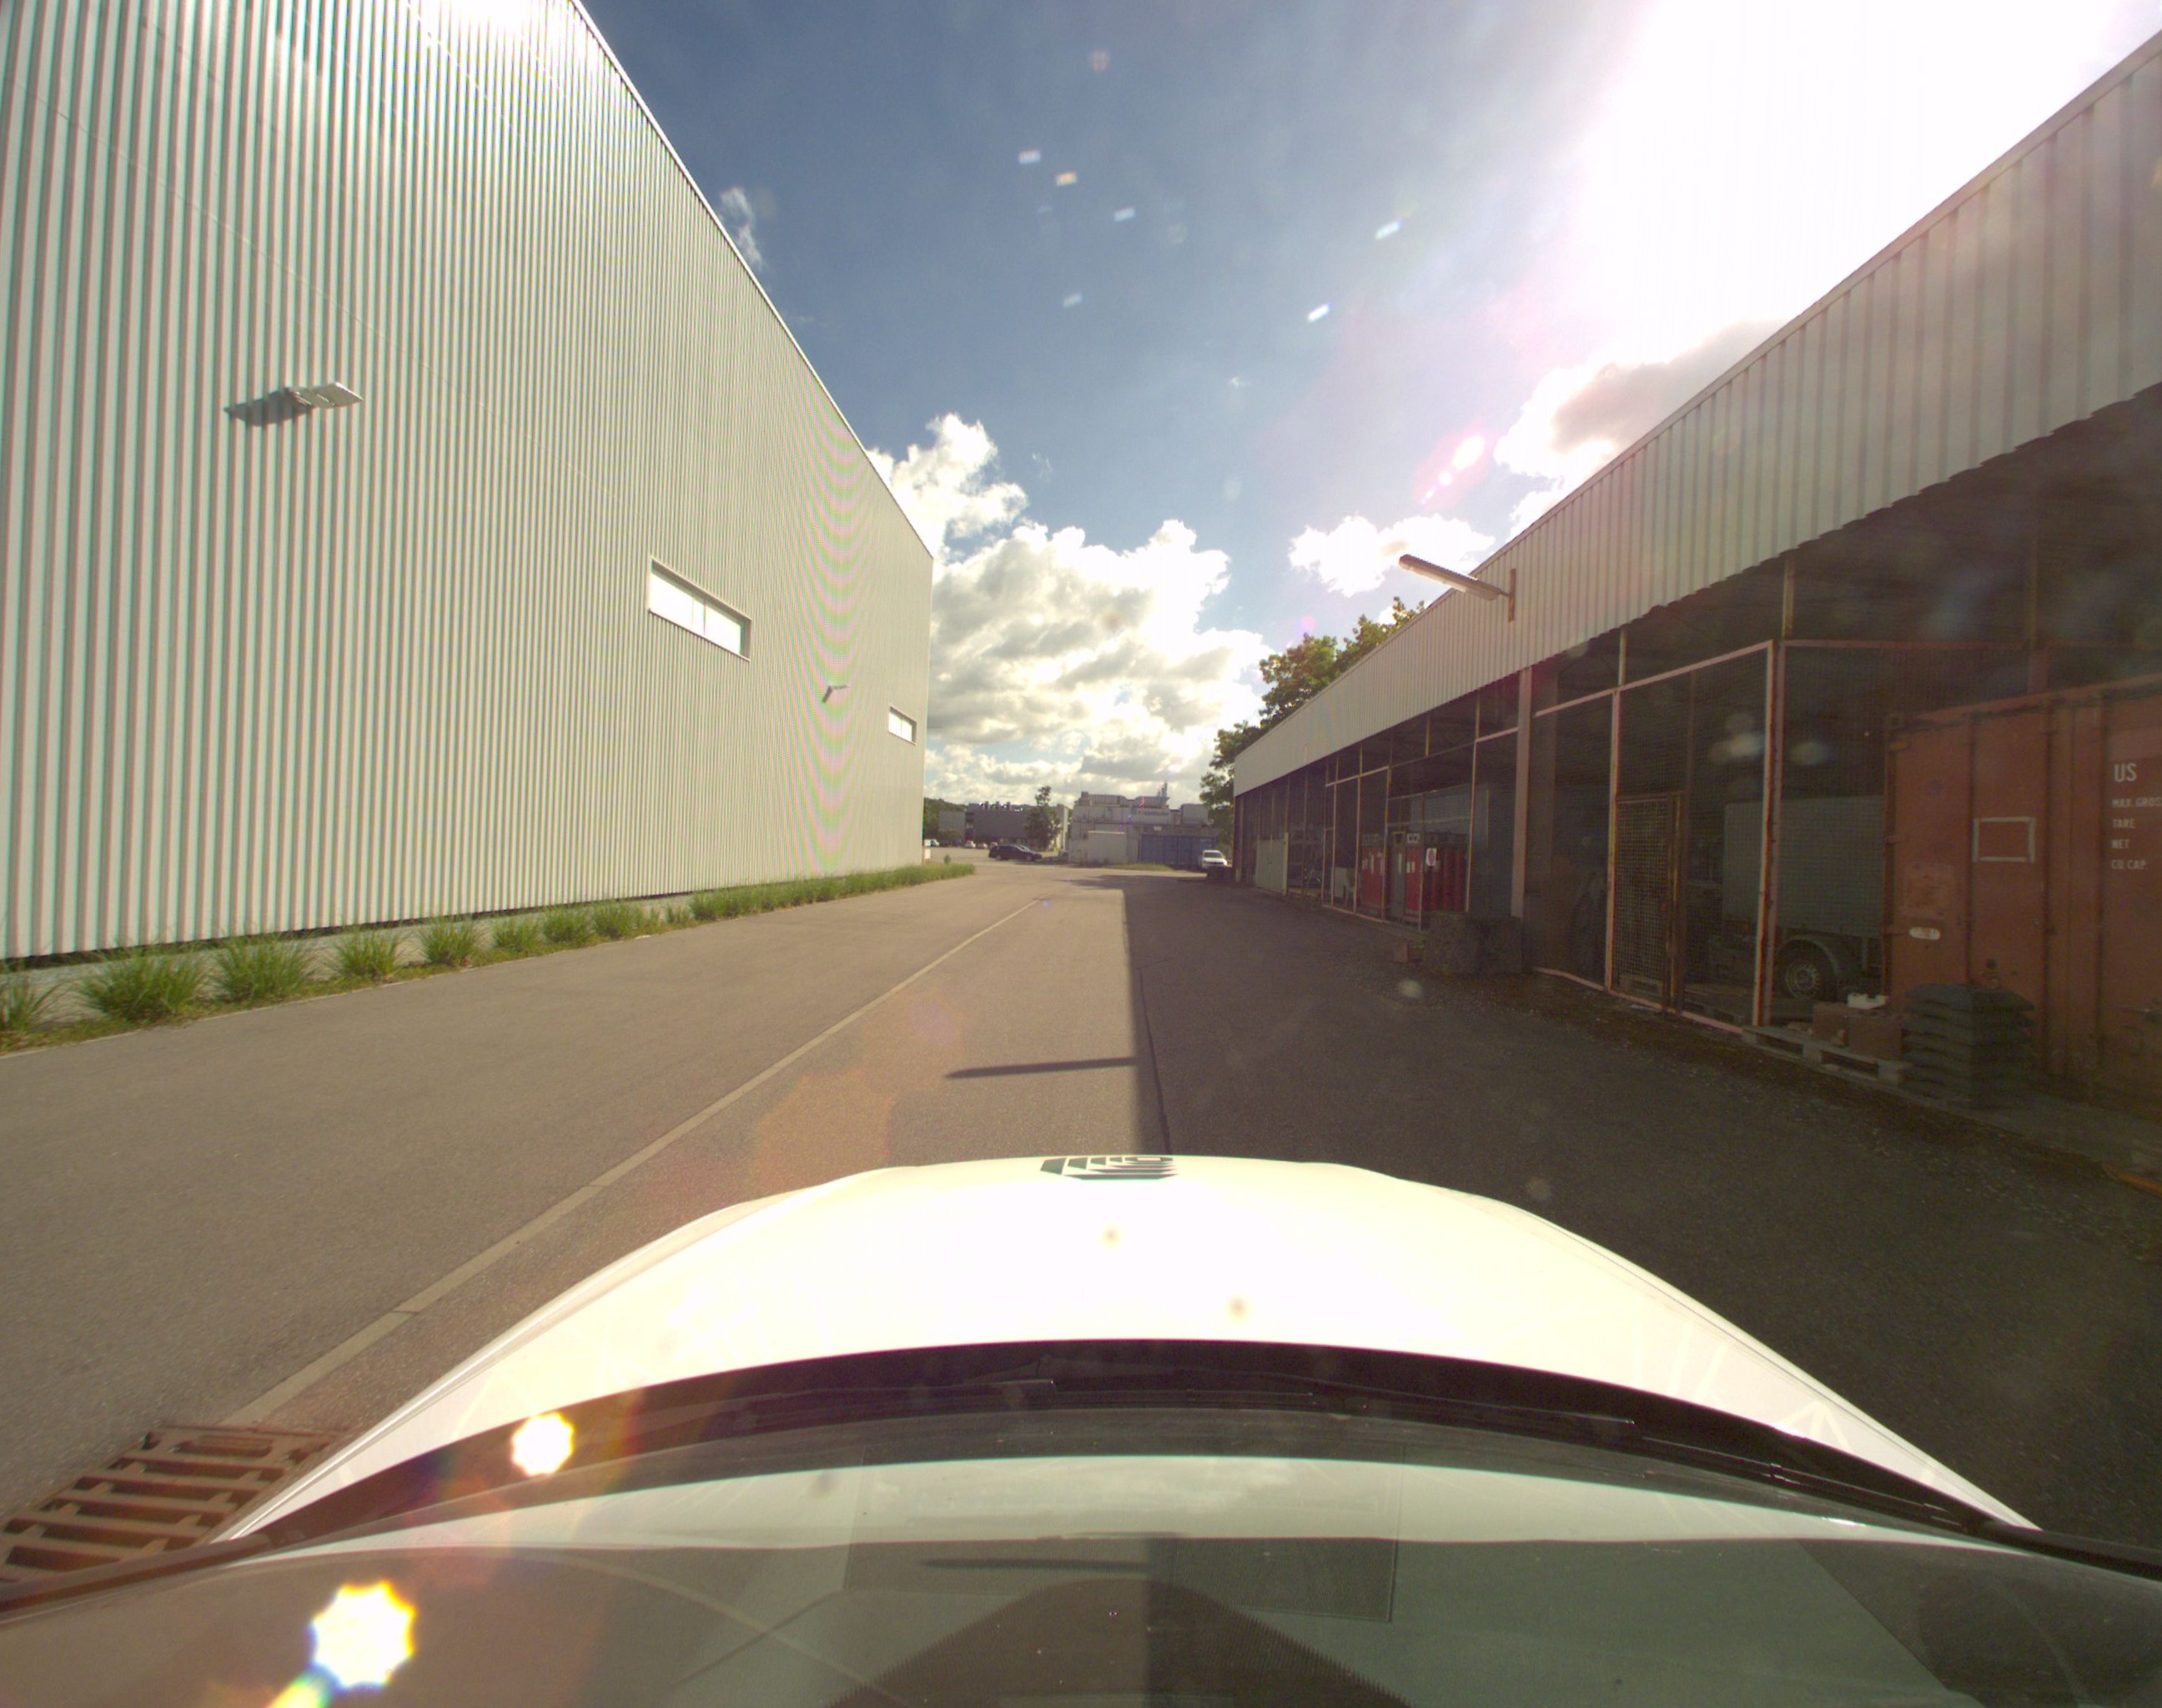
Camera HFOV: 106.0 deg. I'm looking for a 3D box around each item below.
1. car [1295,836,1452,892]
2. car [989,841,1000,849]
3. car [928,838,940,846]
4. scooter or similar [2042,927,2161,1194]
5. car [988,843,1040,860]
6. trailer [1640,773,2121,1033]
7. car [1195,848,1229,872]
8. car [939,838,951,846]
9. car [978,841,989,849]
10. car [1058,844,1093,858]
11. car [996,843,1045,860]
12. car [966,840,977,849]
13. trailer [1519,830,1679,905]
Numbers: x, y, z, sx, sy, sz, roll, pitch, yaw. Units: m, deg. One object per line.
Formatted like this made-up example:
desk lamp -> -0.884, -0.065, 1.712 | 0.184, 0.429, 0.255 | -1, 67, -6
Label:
car -> 11.139, 0.362, 31.268 | 5.153, 1.918, 2.276 | 2, 0, -3
car -> -18.319, -1.880, 172.363 | 1.871, 1.537, 4.035 | 0, 0, 0
car -> -31.186, -2.572, 172.543 | 1.842, 1.668, 4.130 | 0, 0, -2
scooter or similar -> 5.021, 0.934, 3.254 | 0.518, 1.134, 1.593 | 1, 0, 2
car -> -6.156, -0.218, 74.885 | 4.512, 1.443, 1.988 | 2, -1, 2
trailer -> 7.812, 0.401, 8.483 | 1.572, 2.143, 3.521 | 0, 0, 0
car -> 9.910, 0.404, 61.802 | 1.973, 1.593, 4.343 | 2, 2, 2
car -> -28.748, -2.492, 172.353 | 1.873, 1.537, 4.032 | 0, 0, -2
car -> -20.647, -1.894, 172.210 | 1.871, 1.537, 4.035 | 0, 0, 0
car -> -0.663, -0.334, 102.497 | 4.262, 1.569, 1.988 | 2, -1, 2
car -> -5.778, -0.238, 78.135 | 4.512, 1.443, 1.905 | 2, -1, 2
car -> -23.196, -1.985, 172.436 | 1.871, 1.689, 4.035 | 0, 0, 0
trailer -> 15.811, 0.381, 25.076 | 3.389, 2.138, 2.467 | 1, 0, 4
